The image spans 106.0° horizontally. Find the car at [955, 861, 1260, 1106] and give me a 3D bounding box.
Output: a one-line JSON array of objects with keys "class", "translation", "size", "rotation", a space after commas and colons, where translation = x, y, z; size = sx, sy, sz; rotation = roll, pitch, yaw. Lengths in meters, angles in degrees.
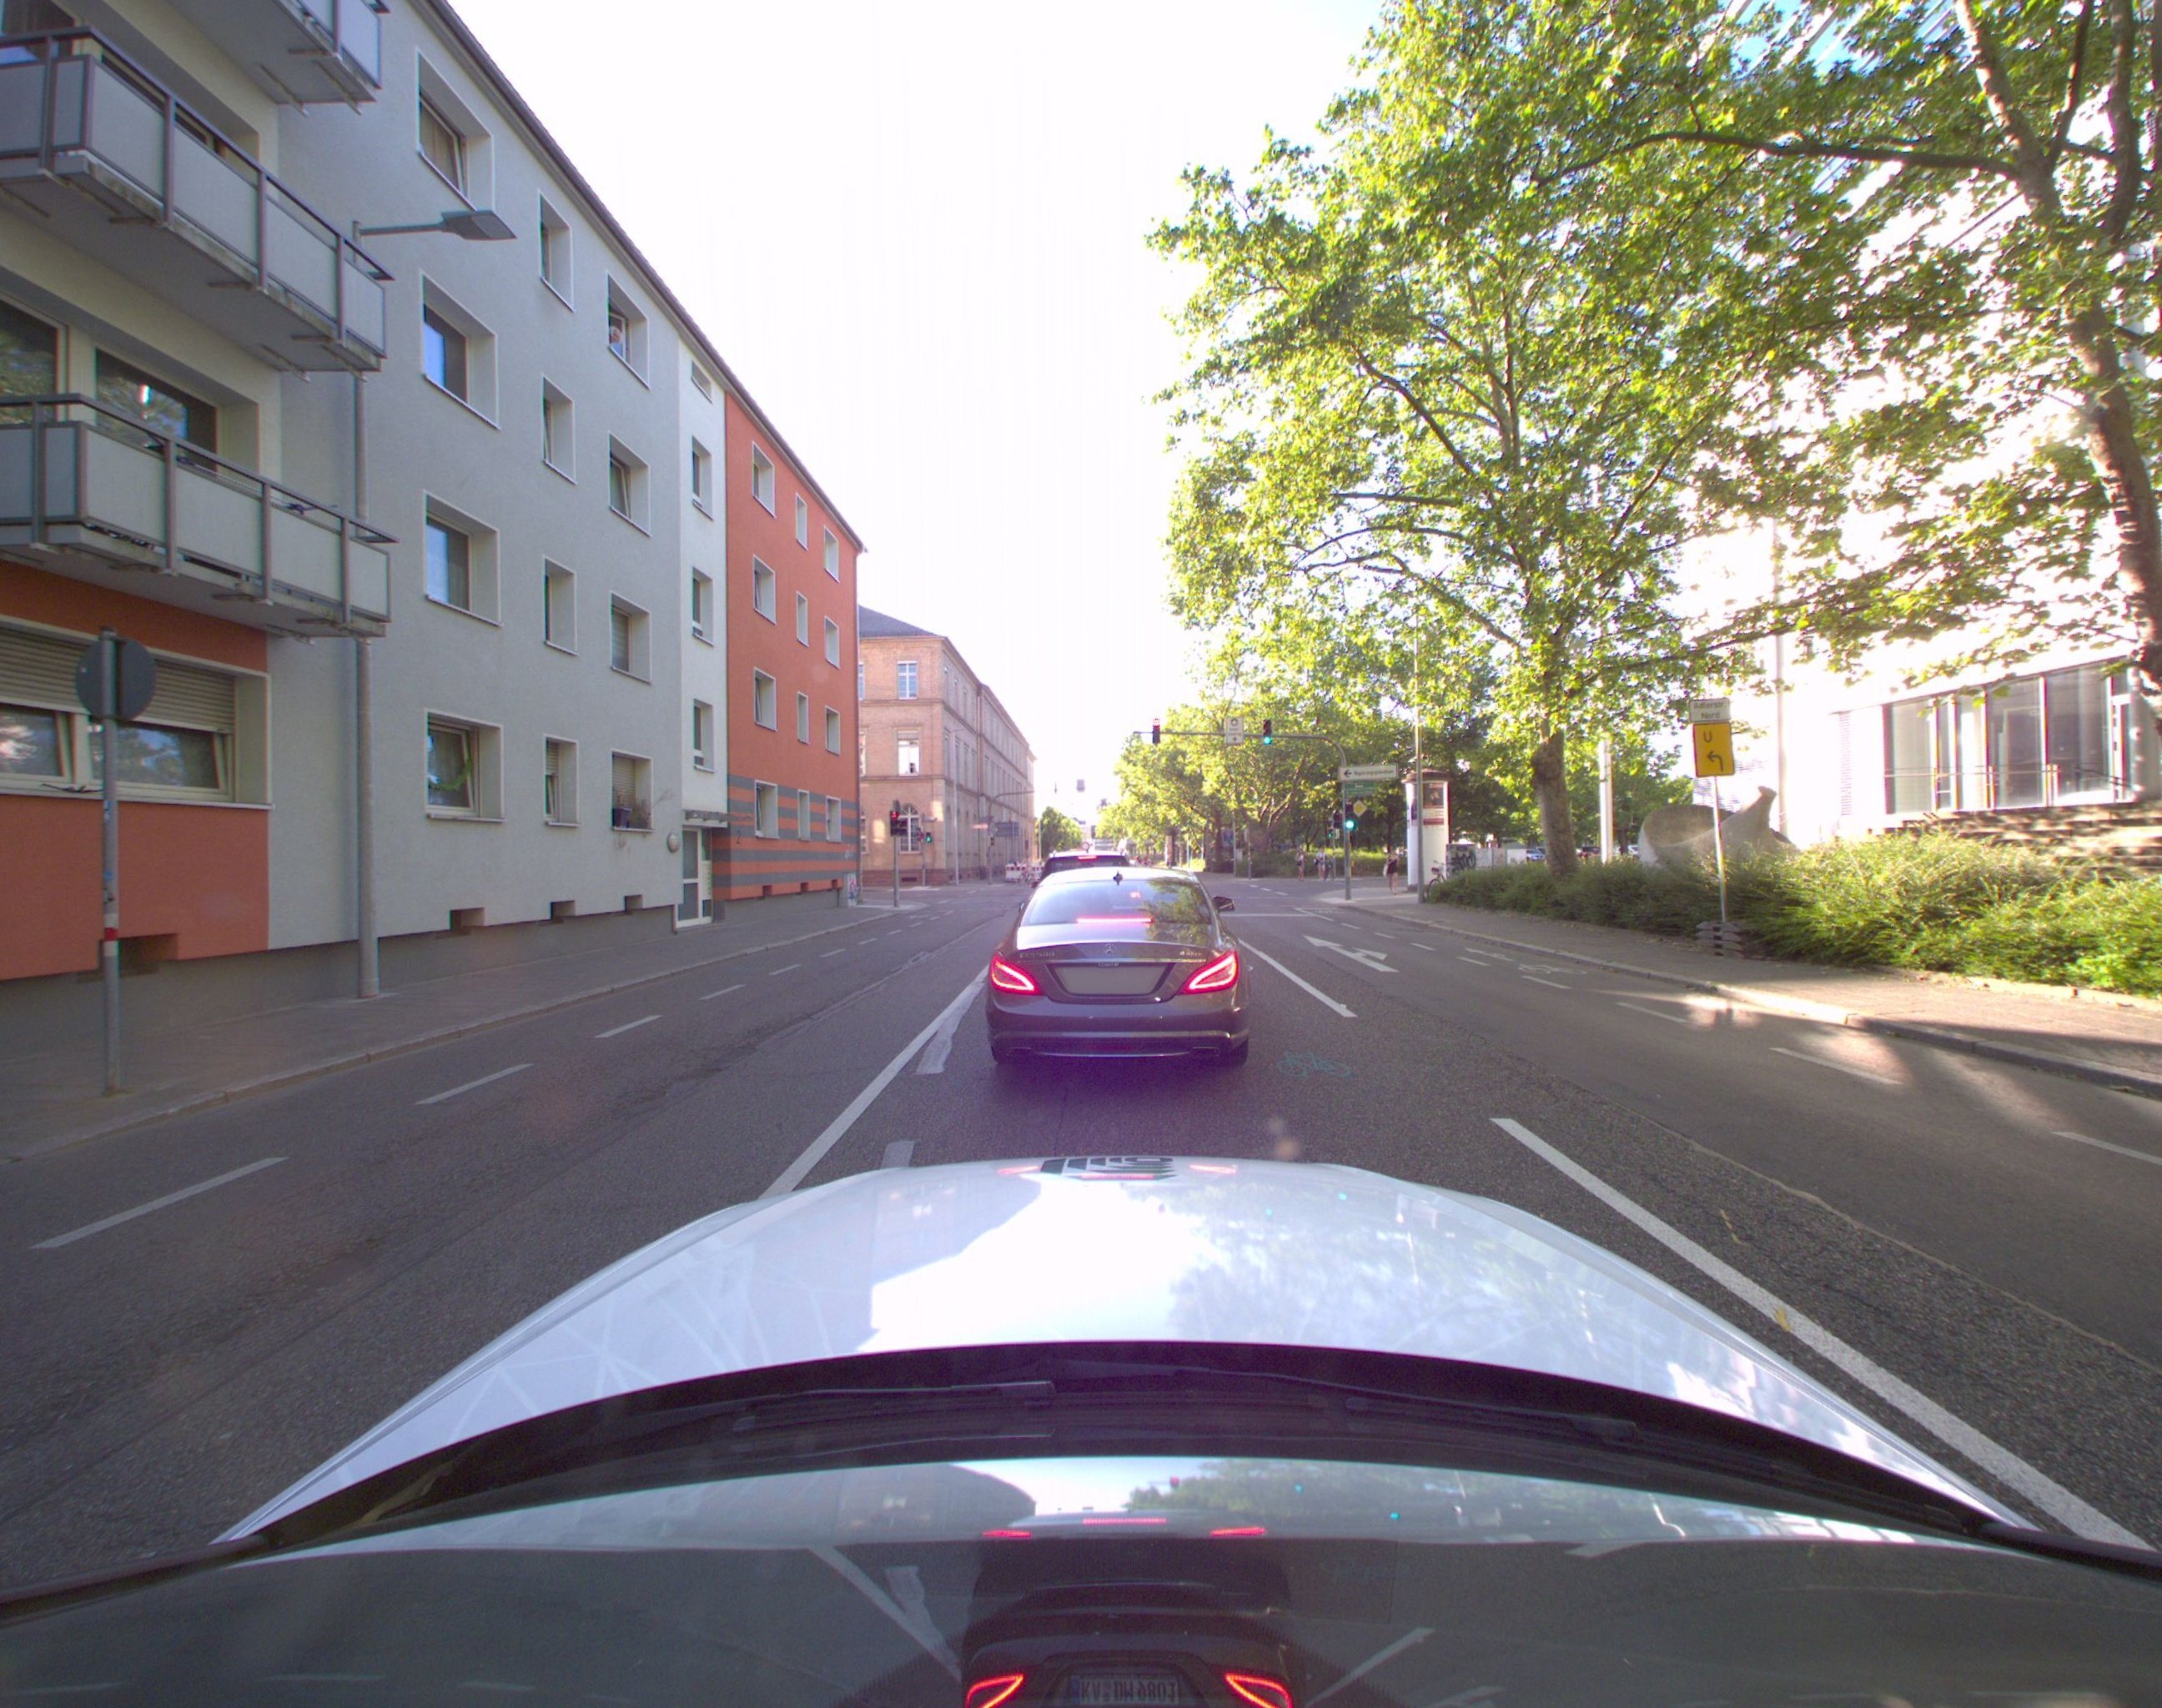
[{"class": "car", "translation": [0.440, 0.789, 7.148], "size": [1.833, 1.429, 4.527], "rotation": [0, -1, 8]}]

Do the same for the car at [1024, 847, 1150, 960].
[{"class": "car", "translation": [0.203, 0.740, 13.856], "size": [1.801, 1.612, 4.003], "rotation": [-1, -1, 3]}]

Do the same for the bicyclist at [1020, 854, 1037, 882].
[{"class": "bicyclist", "translation": [-2.955, 0.787, 45.769], "size": [0.642, 1.558, 0.811], "rotation": [-1, -1, 23]}]

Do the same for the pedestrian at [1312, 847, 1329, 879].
[{"class": "pedestrian", "translation": [12.733, 0.492, 43.334], "size": [0.680, 1.697, 0.972], "rotation": [0, -1, 4]}]

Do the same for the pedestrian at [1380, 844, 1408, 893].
[{"class": "pedestrian", "translation": [10.823, 0.500, 28.158], "size": [0.791, 1.630, 0.912], "rotation": [-3, -2, 19]}]

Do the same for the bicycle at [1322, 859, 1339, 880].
[{"class": "bicycle", "translation": [13.233, 0.800, 43.204], "size": [0.522, 1.100, 1.744], "rotation": [0, -1, 5]}]

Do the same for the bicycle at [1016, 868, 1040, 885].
[{"class": "bicycle", "translation": [-2.974, 1.265, 45.712], "size": [0.543, 0.891, 1.878], "rotation": [-1, -1, 23]}]

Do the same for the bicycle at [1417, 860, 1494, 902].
[{"class": "bicycle", "translation": [10.803, 0.769, 23.497], "size": [1.969, 1.190, 0.528], "rotation": [0, -1, 0]}]

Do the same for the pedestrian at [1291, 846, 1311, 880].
[{"class": "pedestrian", "translation": [11.750, 0.478, 43.495], "size": [0.731, 1.808, 0.907], "rotation": [-2, -2, -6]}]

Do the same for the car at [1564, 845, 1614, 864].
[{"class": "car", "translation": [39.742, 0.049, 63.820], "size": [1.624, 1.483, 3.796], "rotation": [0, -1, 1]}]
